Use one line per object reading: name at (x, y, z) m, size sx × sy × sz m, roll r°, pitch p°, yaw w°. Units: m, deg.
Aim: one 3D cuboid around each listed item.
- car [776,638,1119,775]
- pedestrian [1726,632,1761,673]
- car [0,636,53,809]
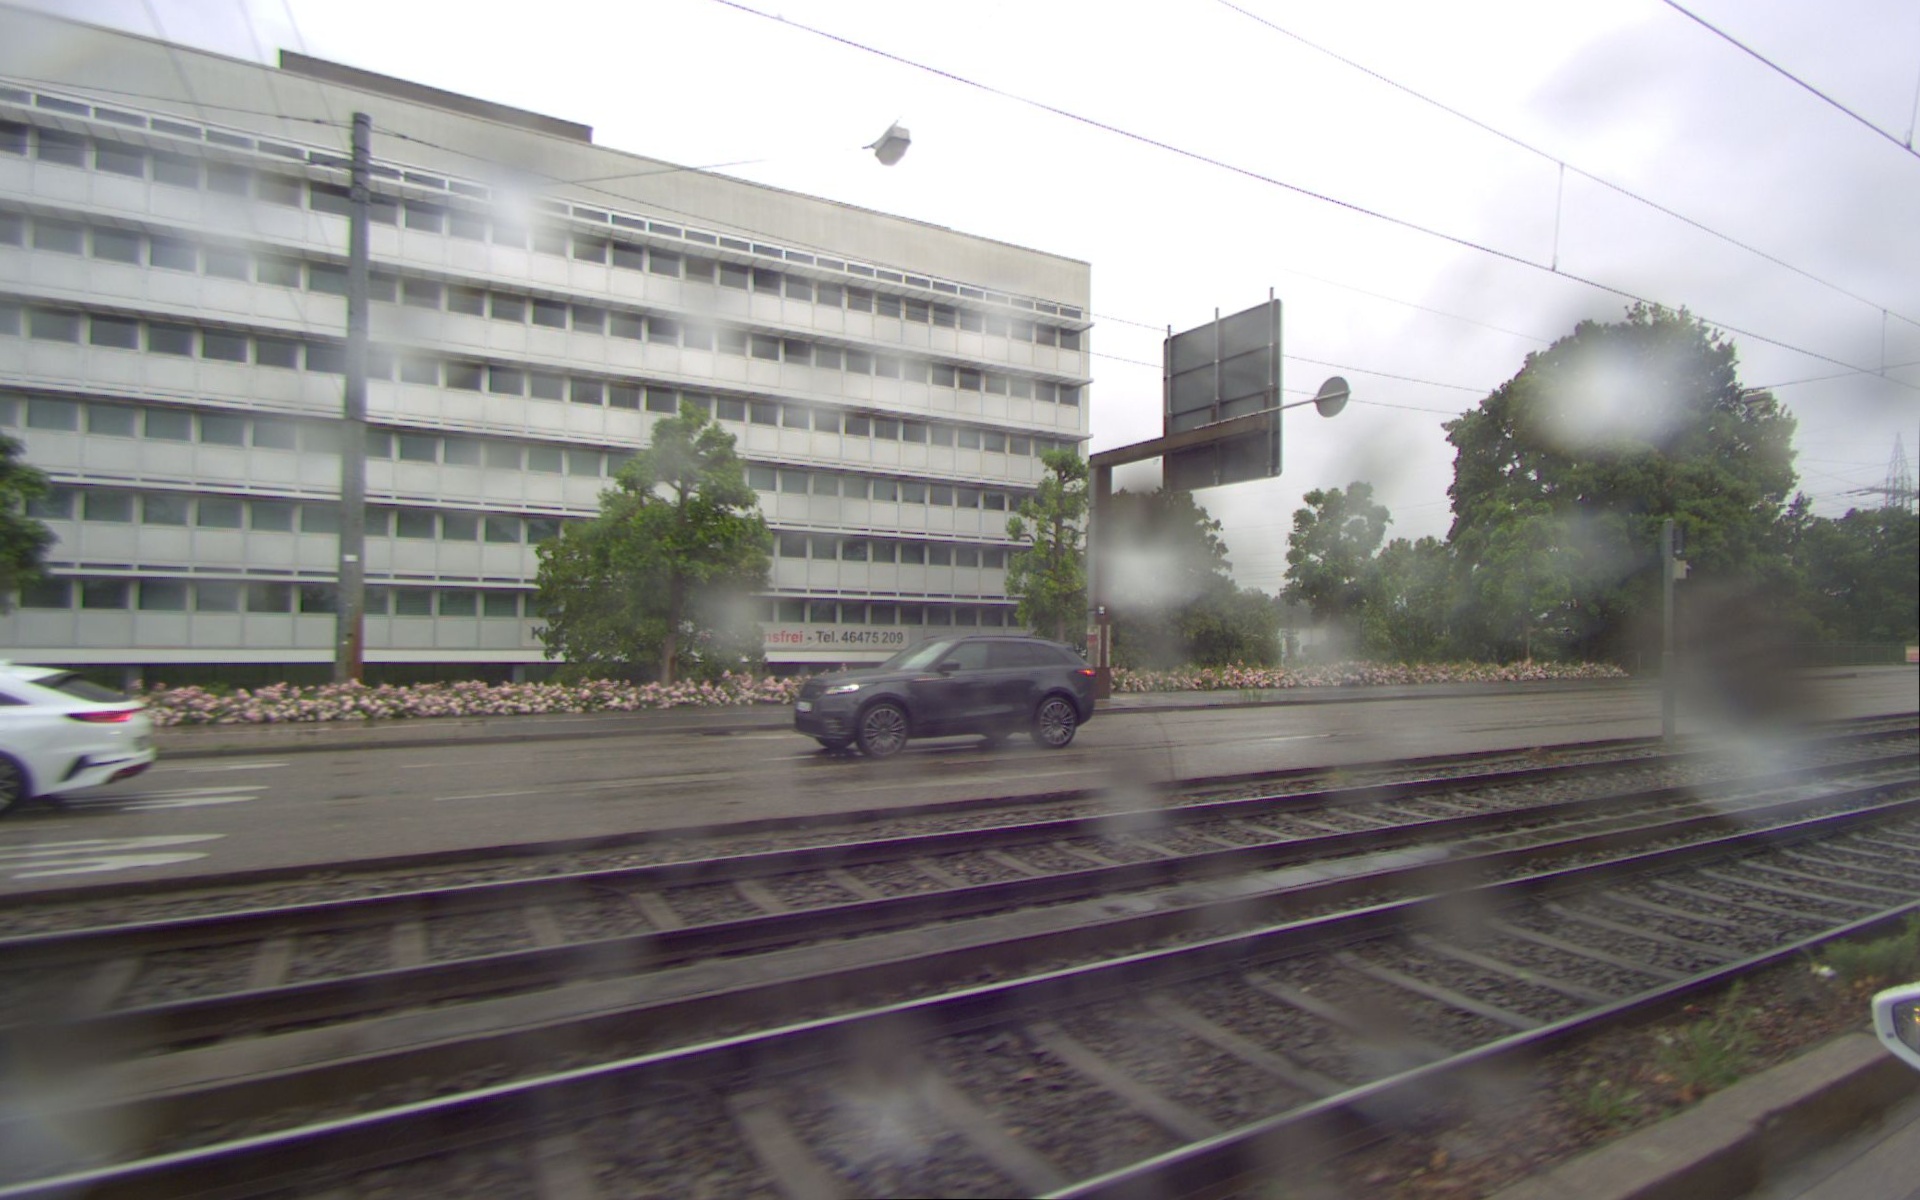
car at (-0.131, 1.459, 15.080) m, size 4.824 × 1.744 × 1.984 m, roll 1°, pitch -2°, yaw -31°
pedestrian at (34.173, 2.287, 43.804) m, size 1.107 × 1.782 × 0.848 m, roll 1°, pitch -2°, yaw -30°
car at (-11.108, 1.112, 8.493) m, size 4.707 × 1.604 × 1.986 m, roll 1°, pitch -2°, yaw -29°
